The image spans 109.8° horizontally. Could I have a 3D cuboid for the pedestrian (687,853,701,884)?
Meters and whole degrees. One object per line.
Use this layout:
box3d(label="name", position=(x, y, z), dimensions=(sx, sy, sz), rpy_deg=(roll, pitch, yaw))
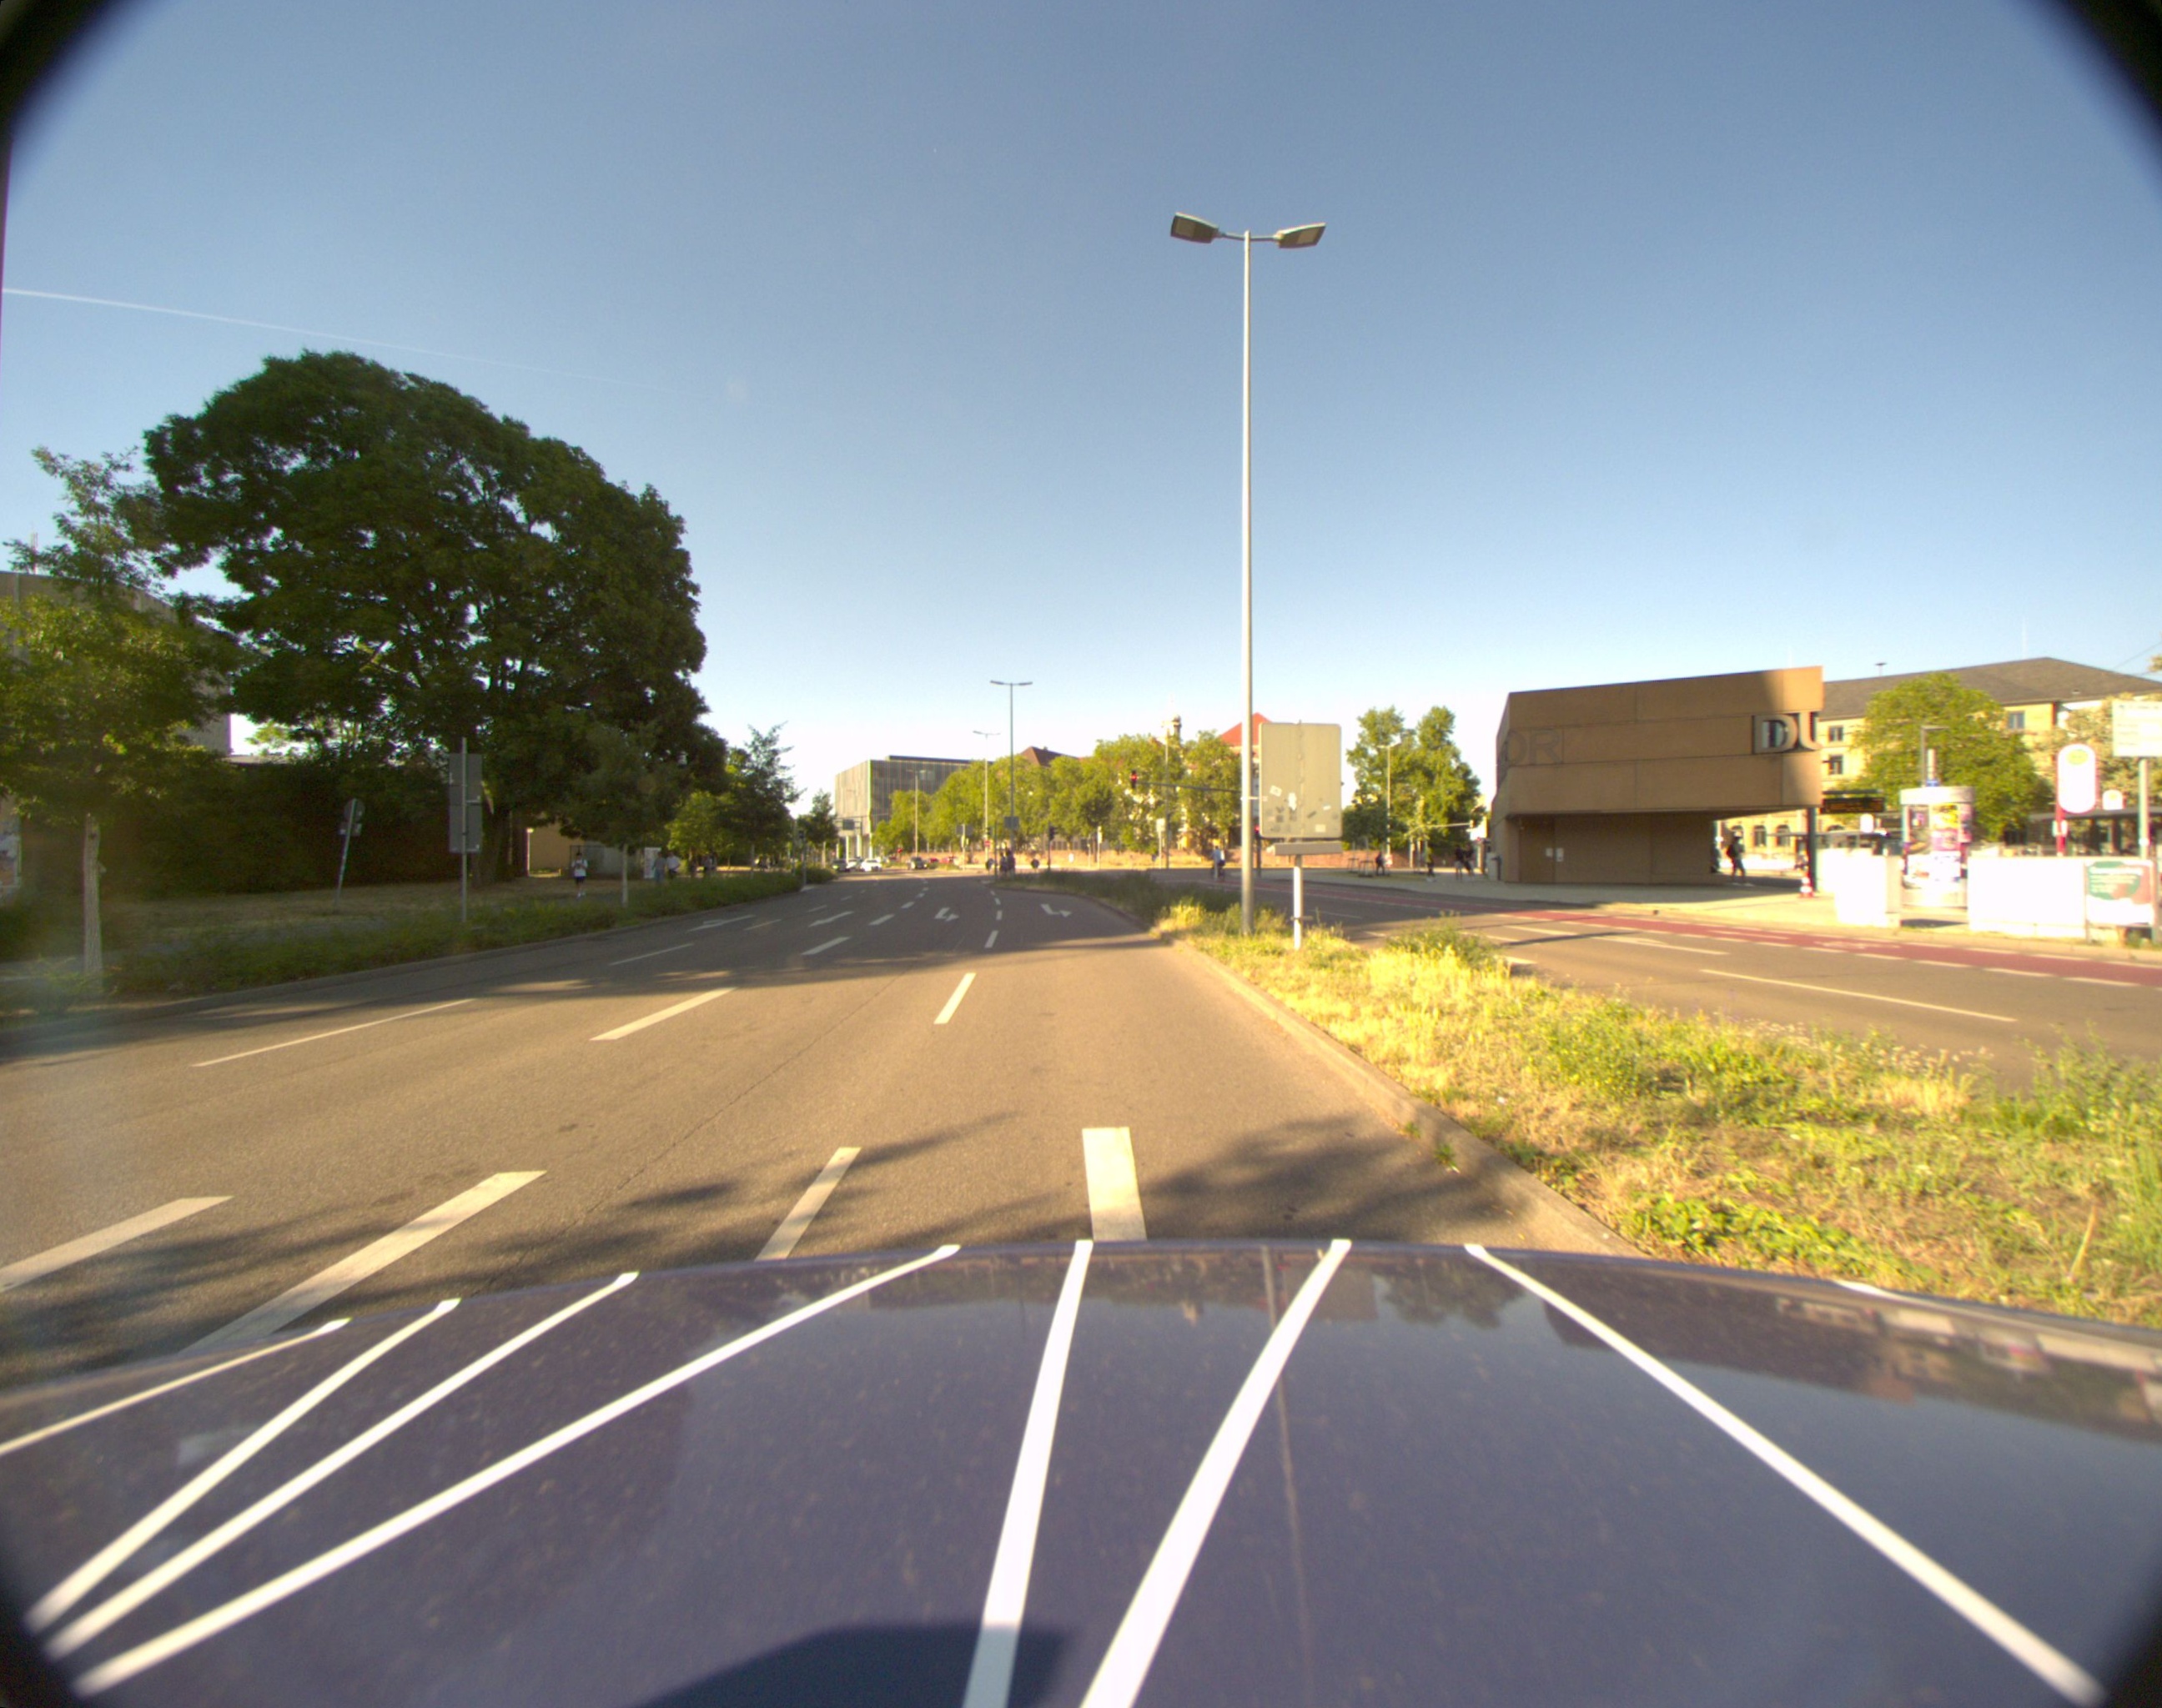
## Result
box3d(label="pedestrian", position=(-20.156, 0.749, 39.621), dimensions=(0.623, 1.565, 0.638), rpy_deg=(-1, 1, -25))

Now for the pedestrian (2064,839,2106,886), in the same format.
box3d(label="pedestrian", position=(42.538, 0.365, 32.194), dimensions=(0.814, 1.970, 0.756), rpy_deg=(1, 0, 28))

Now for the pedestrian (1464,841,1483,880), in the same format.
box3d(label="pedestrian", position=(18.052, 0.306, 34.946), dimensions=(0.734, 1.720, 0.666), rpy_deg=(-2, -1, 25))

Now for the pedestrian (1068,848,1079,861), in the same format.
box3d(label="pedestrian", position=(-0.881, 0.063, 86.920), dimensions=(0.975, 1.528, 0.921), rpy_deg=(-1, 1, -25))

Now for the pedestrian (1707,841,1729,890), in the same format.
box3d(label="pedestrian", position=(26.463, 0.497, 31.575), dimensions=(0.613, 2.001, 0.809), rpy_deg=(-2, -1, 37))

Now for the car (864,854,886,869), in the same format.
box3d(label="car", position=(-22.286, 0.811, 82.219), dimensions=(1.805, 1.510, 4.423), rpy_deg=(0, 0, -22))

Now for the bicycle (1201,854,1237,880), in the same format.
box3d(label="bicycle", position=(7.231, 0.665, 40.043), dimensions=(0.743, 1.248, 2.552), rpy_deg=(-1, 1, -18))

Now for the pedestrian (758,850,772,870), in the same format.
box3d(label="pedestrian", position=(-27.708, 0.520, 66.716), dimensions=(1.020, 1.739, 0.847), rpy_deg=(0, 1, -31))

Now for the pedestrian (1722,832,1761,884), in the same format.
box3d(label="pedestrian", position=(25.466, 0.133, 29.324), dimensions=(0.978, 1.970, 0.720), rpy_deg=(1, 0, 26))

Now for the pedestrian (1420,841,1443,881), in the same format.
box3d(label="pedestrian", position=(16.041, 0.316, 34.806), dimensions=(0.718, 1.824, 0.639), rpy_deg=(-1, -1, 1))

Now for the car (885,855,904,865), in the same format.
box3d(label="car", position=(-30.946, 0.951, 126.235), dimensions=(2.198, 1.674, 4.597), rpy_deg=(-1, 0, -25))

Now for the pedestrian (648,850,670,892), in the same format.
box3d(label="pedestrian", position=(-18.799, 0.744, 33.816), dimensions=(0.575, 1.858, 0.624), rpy_deg=(0, 1, 26))

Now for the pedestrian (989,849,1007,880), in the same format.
box3d(label="pedestrian", position=(-4.671, 0.597, 42.710), dimensions=(0.928, 1.731, 0.756), rpy_deg=(-1, 1, -10))

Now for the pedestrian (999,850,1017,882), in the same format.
box3d(label="pedestrian", position=(-3.995, 0.631, 41.341), dimensions=(0.928, 1.731, 0.756), rpy_deg=(0, 1, -10))

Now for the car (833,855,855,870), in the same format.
box3d(label="car", position=(-24.914, 0.908, 79.822), dimensions=(1.805, 1.510, 3.992), rpy_deg=(0, 0, -22))

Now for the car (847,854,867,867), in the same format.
box3d(label="car", position=(-28.072, 0.778, 95.169), dimensions=(1.927, 1.510, 4.010), rpy_deg=(0, 0, -22))

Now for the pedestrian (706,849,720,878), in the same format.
box3d(label="pedestrian", position=(-22.049, 0.557, 45.573), dimensions=(0.677, 1.694, 0.875), rpy_deg=(-1, 1, -30))

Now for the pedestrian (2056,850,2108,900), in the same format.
box3d(label="pedestrian", position=(40.273, 0.847, 30.591), dimensions=(0.994, 1.970, 0.830), rpy_deg=(1, 0, 28))

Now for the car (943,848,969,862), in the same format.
box3d(label="car", position=(-15.829, 0.183, 95.971), dimensions=(2.198, 1.576, 4.599), rpy_deg=(-1, -1, -23))

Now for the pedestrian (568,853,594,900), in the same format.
box3d(label="pedestrian", position=(-18.263, 0.818, 27.786), dimensions=(0.623, 1.689, 0.629), rpy_deg=(0, 1, -17))

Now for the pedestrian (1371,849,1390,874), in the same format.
box3d(label="pedestrian", position=(19.726, 0.483, 50.020), dimensions=(0.900, 1.675, 0.747), rpy_deg=(-1, 0, -10))

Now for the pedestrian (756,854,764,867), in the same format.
box3d(label="pedestrian", position=(-38.160, 0.735, 90.451), dimensions=(0.764, 1.534, 0.845), rpy_deg=(0, 1, -31))

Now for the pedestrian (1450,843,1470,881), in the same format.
box3d(label="pedestrian", position=(17.053, 0.380, 34.177), dimensions=(0.638, 1.678, 0.551), rpy_deg=(-2, -1, 14))

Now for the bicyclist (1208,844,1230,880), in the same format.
box3d(label="bicyclist", position=(7.237, 0.404, 39.995), dimensions=(0.743, 1.822, 1.012), rpy_deg=(-1, 2, -18))

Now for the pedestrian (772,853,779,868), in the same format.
box3d(label="pedestrian", position=(-35.798, 0.735, 88.925), dimensions=(0.713, 1.703, 0.732), rpy_deg=(-1, 1, -25))

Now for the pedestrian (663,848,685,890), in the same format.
box3d(label="pedestrian", position=(-18.098, 0.654, 33.795), dimensions=(0.575, 1.858, 0.624), rpy_deg=(0, 1, 26))

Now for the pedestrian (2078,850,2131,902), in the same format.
box3d(label="pedestrian", position=(39.242, 0.836, 29.150), dimensions=(0.978, 1.970, 0.720), rpy_deg=(1, 0, 28))

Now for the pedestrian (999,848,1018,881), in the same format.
box3d(label="pedestrian", position=(-3.855, 0.559, 40.550), dimensions=(0.928, 1.731, 0.756), rpy_deg=(-1, 1, -10))

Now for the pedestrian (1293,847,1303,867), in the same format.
box3d(label="pedestrian", position=(19.174, 0.251, 67.192), dimensions=(0.791, 1.644, 0.713), rpy_deg=(2, 4, 17))

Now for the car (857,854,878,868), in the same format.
box3d(label="car", position=(-25.060, 0.787, 89.002), dimensions=(1.927, 1.510, 4.010), rpy_deg=(0, 0, -22))

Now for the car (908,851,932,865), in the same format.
box3d(label="car", position=(-17.764, 0.424, 83.841), dimensions=(1.927, 1.510, 4.010), rpy_deg=(0, 0, -22))

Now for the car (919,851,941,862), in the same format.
box3d(label="car", position=(-22.566, 0.411, 113.568), dimensions=(2.198, 1.576, 4.598), rpy_deg=(-1, -1, -24))
